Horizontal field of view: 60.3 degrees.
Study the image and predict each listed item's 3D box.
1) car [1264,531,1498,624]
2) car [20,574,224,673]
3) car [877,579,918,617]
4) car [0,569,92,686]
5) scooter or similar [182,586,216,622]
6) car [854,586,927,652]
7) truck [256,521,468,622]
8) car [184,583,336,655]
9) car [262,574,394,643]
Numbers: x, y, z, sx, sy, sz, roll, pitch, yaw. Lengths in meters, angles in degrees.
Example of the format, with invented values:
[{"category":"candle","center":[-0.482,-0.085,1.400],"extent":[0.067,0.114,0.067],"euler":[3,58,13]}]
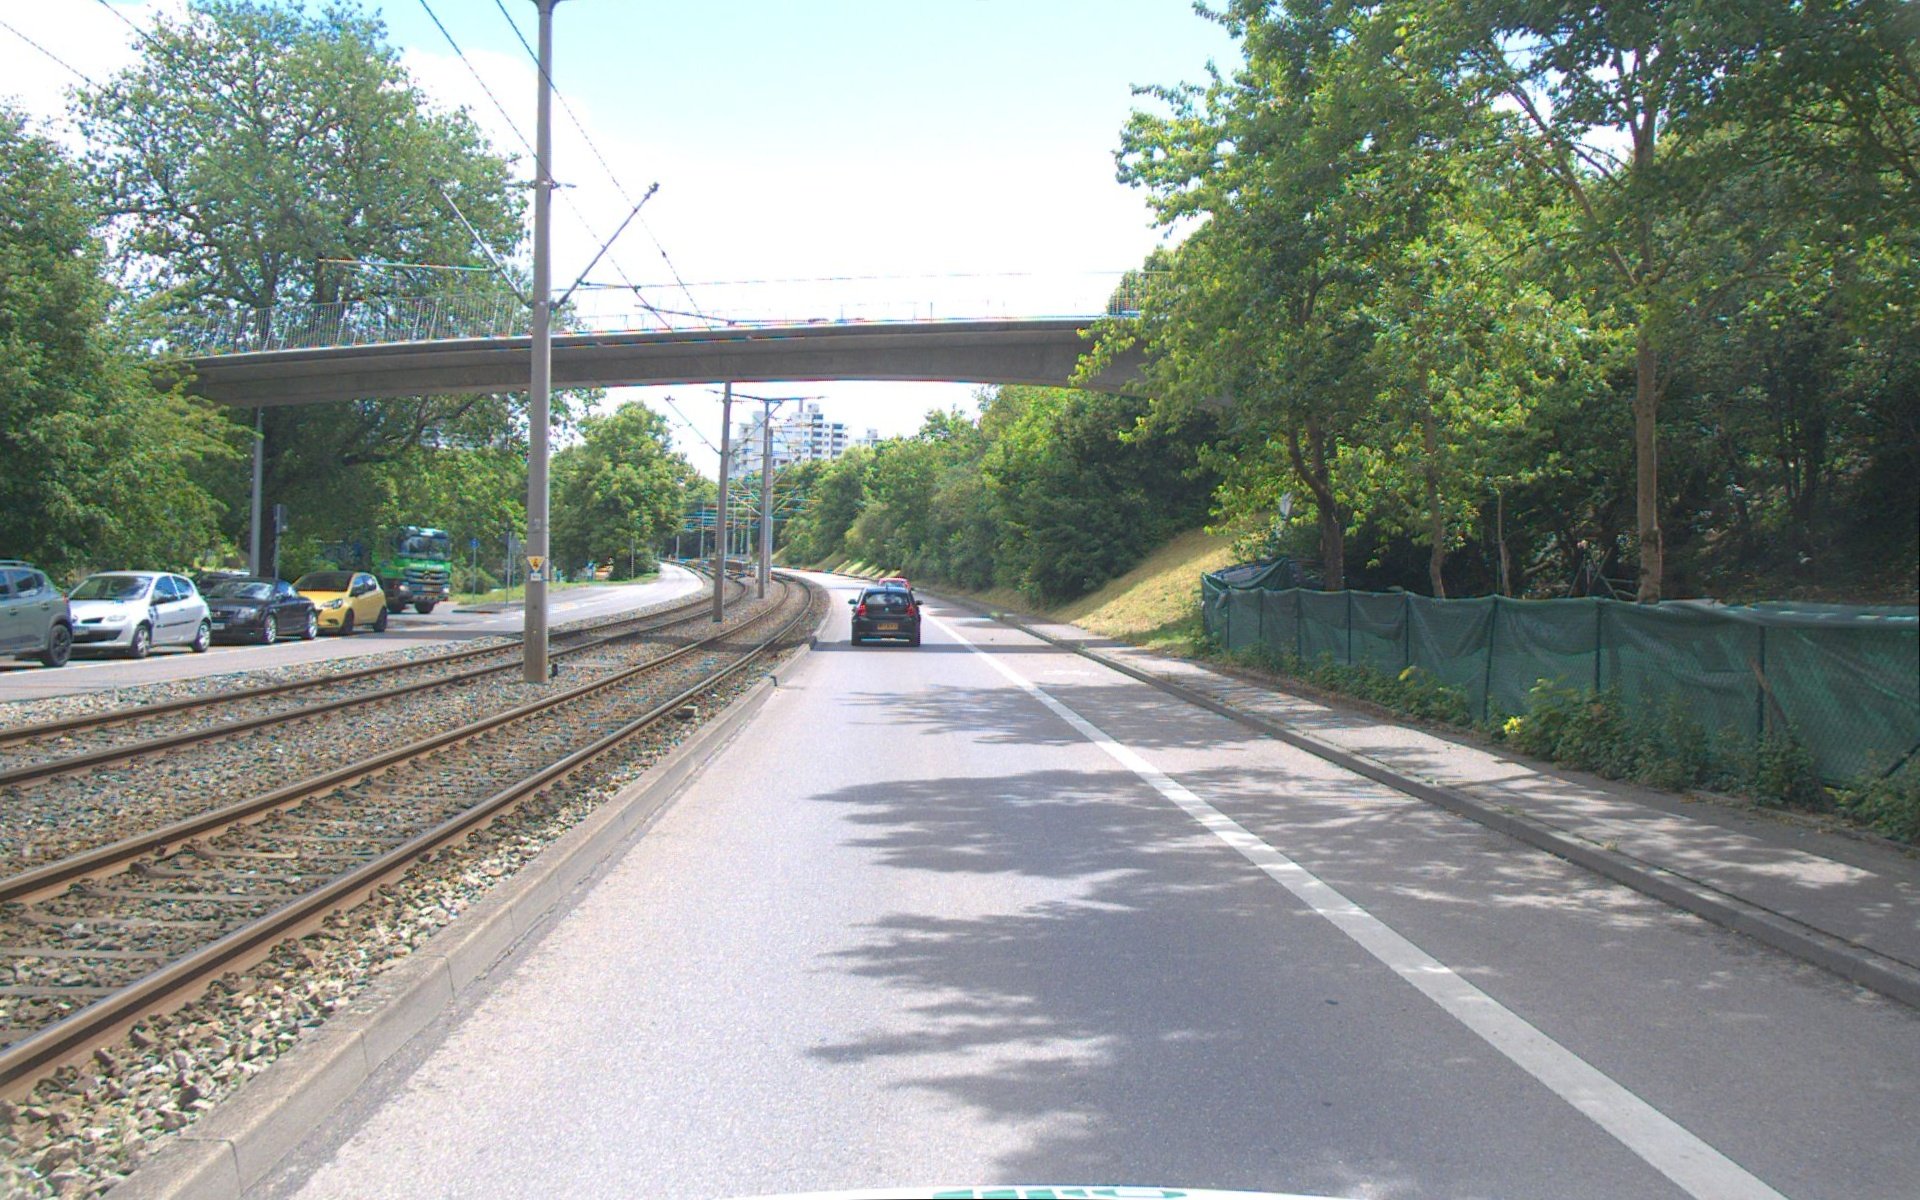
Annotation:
[{"category":"car","center":[8.915,-0.452,35.343],"extent":[4.432,1.700,2.000],"euler":[-3,-1,0]},{"category":"car","center":[-14.573,0.404,29.014],"extent":[1.562,1.520,4.189],"euler":[3,-1,-3]},{"category":"car","center":[-2.589,-0.056,69.142],"extent":[1.591,1.468,3.420],"euler":[3,-1,-1]},{"category":"car","center":[-14.302,0.373,23.671],"extent":[1.609,1.651,4.124],"euler":[1,0,-1]},{"category":"scooter or similar","center":[-25.353,0.142,55.111],"extent":[0.696,1.167,0.787],"euler":[3,-1,0]},{"category":"car","center":[-1.707,0.433,41.306],"extent":[1.674,1.485,3.959],"euler":[3,0,-2]},{"category":"truck","center":[-22.910,-1.125,63.170],"extent":[8.847,3.377,2.871],"euler":[3,-1,35]},{"category":"car","center":[-14.607,0.376,34.732],"extent":[1.480,1.384,4.127],"euler":[1,0,-1]},{"category":"car","center":[-15.033,0.221,39.567],"extent":[1.655,1.476,3.897],"euler":[3,-1,-1]}]
